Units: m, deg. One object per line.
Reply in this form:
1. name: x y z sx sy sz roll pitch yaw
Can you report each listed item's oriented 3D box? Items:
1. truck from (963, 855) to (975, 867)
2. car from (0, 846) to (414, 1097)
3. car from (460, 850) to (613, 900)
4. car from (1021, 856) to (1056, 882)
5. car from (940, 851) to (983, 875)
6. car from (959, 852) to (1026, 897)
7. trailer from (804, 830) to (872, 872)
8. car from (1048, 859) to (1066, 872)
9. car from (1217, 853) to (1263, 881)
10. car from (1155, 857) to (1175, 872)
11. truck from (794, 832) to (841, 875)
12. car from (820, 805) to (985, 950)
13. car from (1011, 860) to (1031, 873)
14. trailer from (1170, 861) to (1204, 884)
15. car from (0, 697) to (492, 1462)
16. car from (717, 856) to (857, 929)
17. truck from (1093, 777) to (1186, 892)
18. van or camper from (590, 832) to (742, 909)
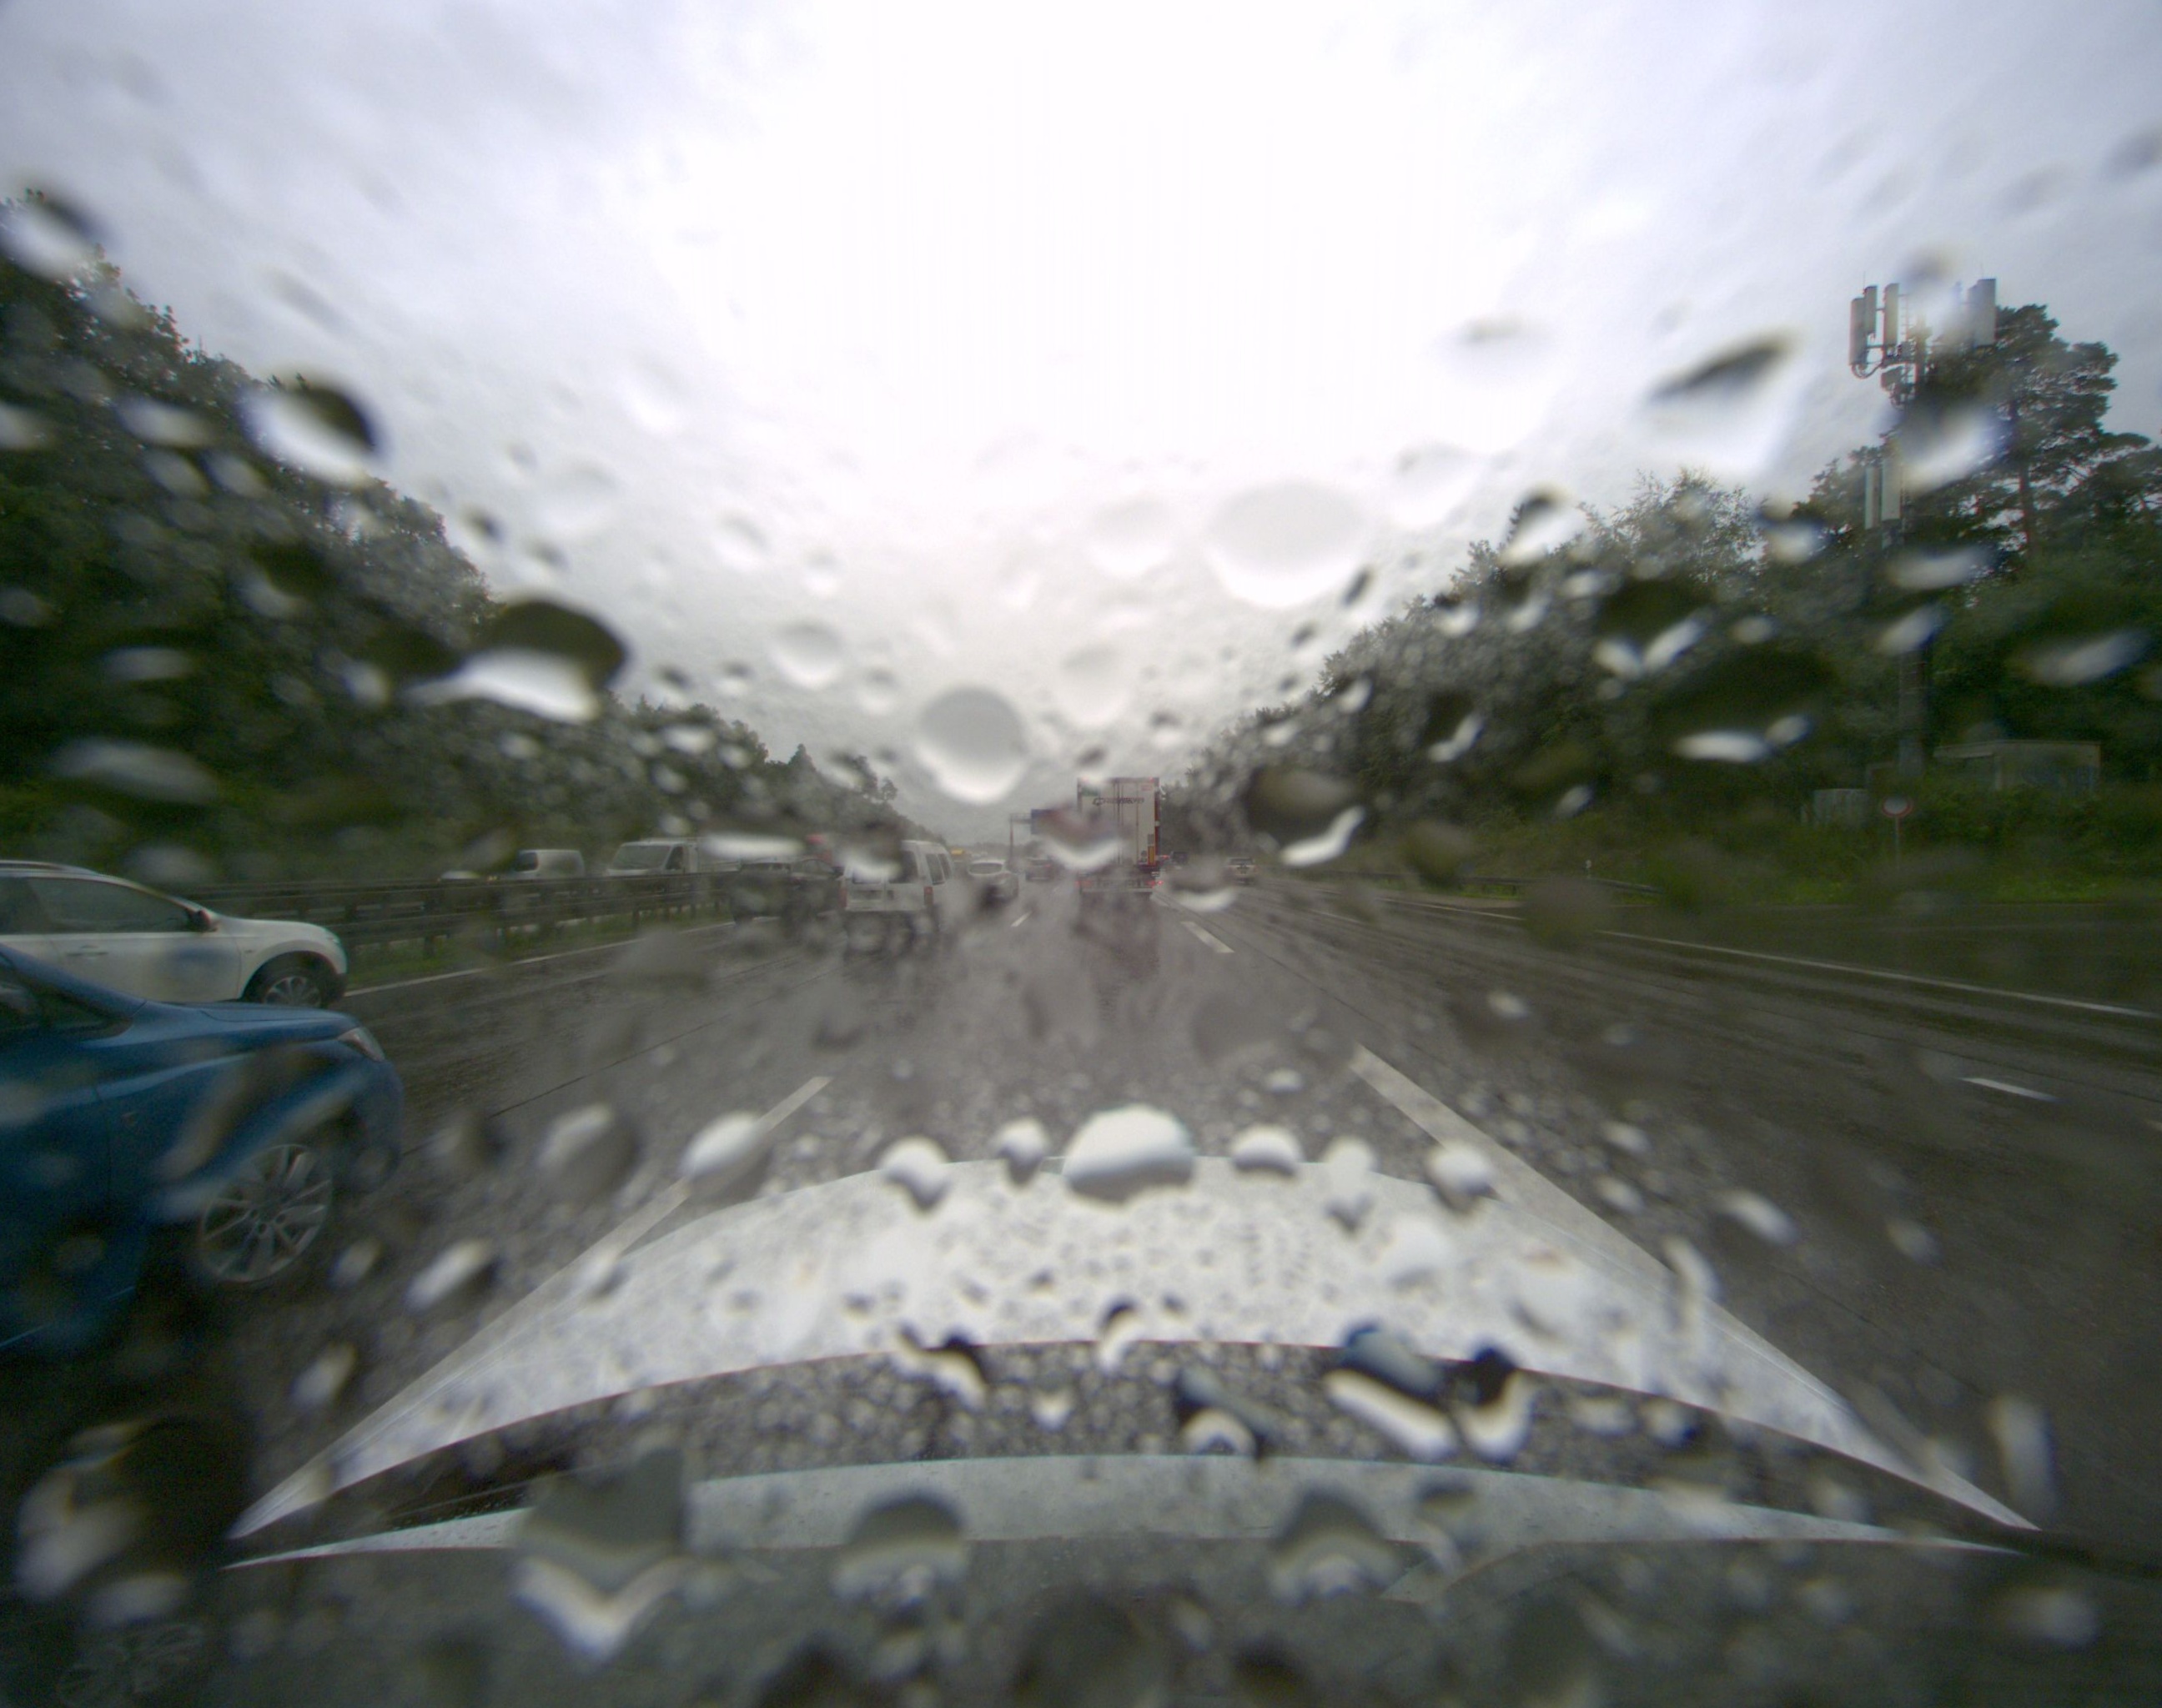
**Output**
1. truck: -34.014 2.186 248.205 2.513 3.483 11.709 -1 0 -2
2. car: -7.733 0.748 6.000 1.838 1.591 4.468 -1 0 2
3. car: -18.209 0.637 27.585 1.987 1.507 4.706 -2 0 -1
4. car: -2.818 0.979 54.838 1.838 1.591 4.471 -1 0 3
5. car: -6.957 0.483 47.990 1.839 1.330 4.466 -1 0 0
6. car: -3.266 0.718 30.804 1.837 1.591 4.076 -1 0 4
7. trailer: -25.389 -0.265 86.087 2.710 3.954 13.962 -2 0 1
8. car: -2.657 1.303 91.708 1.839 1.330 4.466 -1 0 0
9. car: 8.334 0.655 43.050 1.783 1.407 4.231 -1 0 2
10. car: 8.987 1.108 87.537 1.980 1.583 4.773 -1 0 5
11. truck: -25.519 -0.071 79.163 2.694 3.954 4.892 -2 0 1
12. car: -3.497 0.406 17.096 2.205 2.573 5.017 -1 0 1
13. car: -6.483 1.315 88.043 1.839 1.330 4.466 -1 0 0
14. trailer: 8.673 1.463 66.943 2.235 1.714 5.083 -1 0 1
15. car: -3.915 0.578 1.131 2.259 1.912 5.022 -1 0 4
16. car: -7.257 0.870 20.646 1.839 1.591 4.467 -1 0 1
17. truck: 2.119 -0.573 31.115 2.860 3.562 11.310 -1 0 3
18. van or camper: -14.349 0.533 28.662 2.219 2.422 5.703 -1 0 2
